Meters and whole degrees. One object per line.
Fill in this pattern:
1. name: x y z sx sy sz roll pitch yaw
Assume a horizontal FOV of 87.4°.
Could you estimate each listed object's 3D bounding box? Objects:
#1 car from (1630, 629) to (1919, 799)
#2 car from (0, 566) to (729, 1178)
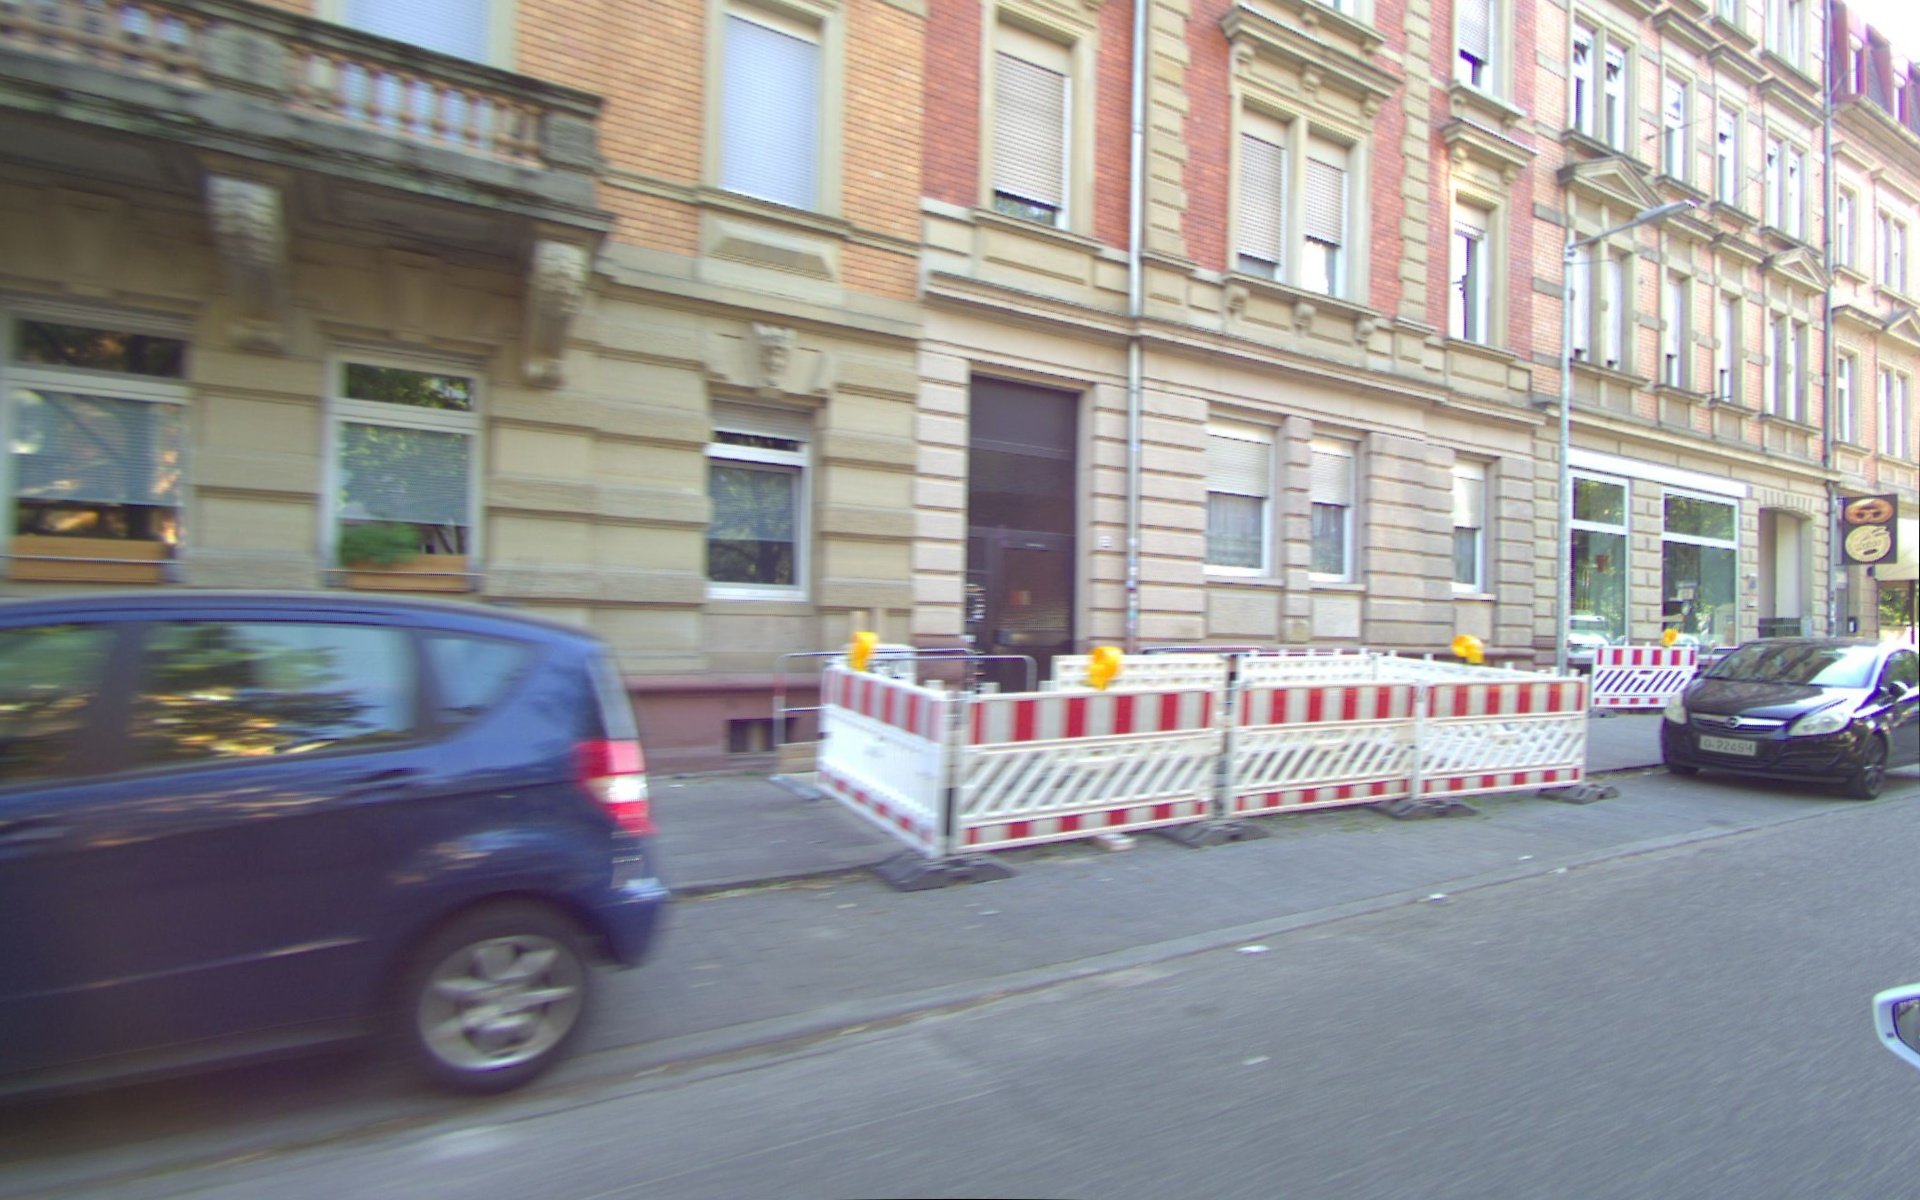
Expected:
1. car: 8.947 1.062 10.564 3.975 1.473 1.695 1 -2 -32
2. car: -2.917 0.723 3.371 3.848 1.588 1.733 1 -2 -30
